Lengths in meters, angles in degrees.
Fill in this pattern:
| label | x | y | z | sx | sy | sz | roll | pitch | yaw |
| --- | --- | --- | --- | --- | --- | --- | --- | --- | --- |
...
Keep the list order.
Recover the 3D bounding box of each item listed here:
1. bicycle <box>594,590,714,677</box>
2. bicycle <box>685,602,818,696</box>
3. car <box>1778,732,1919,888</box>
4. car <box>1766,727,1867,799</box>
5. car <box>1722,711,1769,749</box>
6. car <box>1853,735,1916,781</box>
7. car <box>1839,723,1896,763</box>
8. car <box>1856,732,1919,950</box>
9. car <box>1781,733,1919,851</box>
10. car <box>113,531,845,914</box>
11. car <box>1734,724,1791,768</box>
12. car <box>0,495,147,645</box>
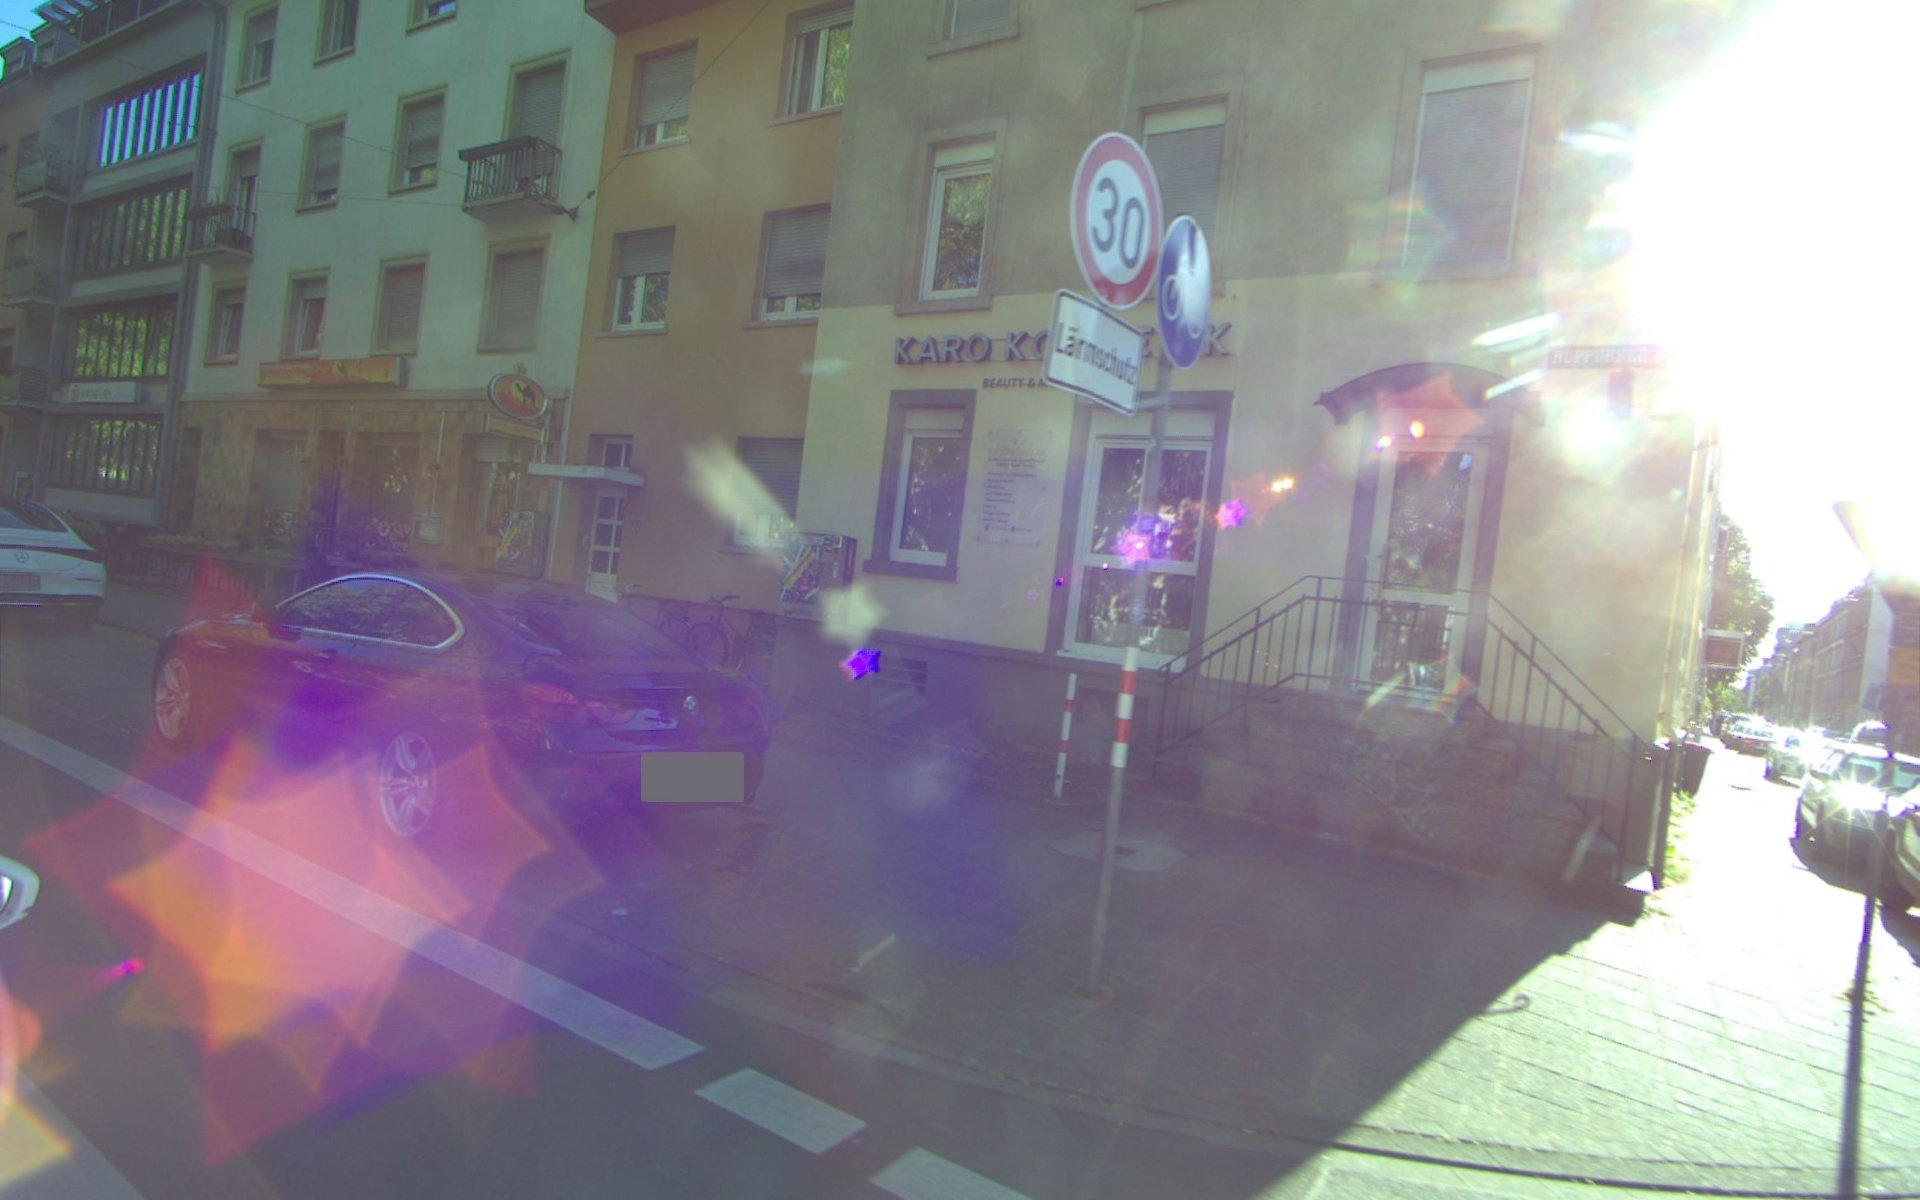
| label | x | y | z | sx | sy | sz | roll | pitch | yaw |
| --- | --- | --- | --- | --- | --- | --- | --- | --- | --- |
| bicycle | -4.356 | 0.465 | 14.265 | 1.827 | 1.009 | 0.427 | 7 | 0 | 32 |
| bicycle | -2.771 | 0.631 | 13.294 | 1.827 | 1.009 | 0.427 | 7 | 0 | 32 |
| car | 12.055 | 2.663 | 13.085 | 1.679 | 1.514 | 4.810 | 10 | 0 | 36 |
| car | 24.976 | 4.700 | 29.466 | 1.679 | 1.592 | 4.188 | 10 | 0 | 36 |
| car | 49.632 | 8.216 | 63.631 | 1.933 | 1.951 | 4.188 | 10 | 0 | 36 |
| car | 46.821 | 7.980 | 51.024 | 1.734 | 1.879 | 3.642 | 8 | -1 | 36 |
| car | 50.488 | 7.924 | 56.014 | 1.734 | 1.879 | 3.642 | 8 | -1 | 36 |
| car | 8.721 | 2.063 | 7.856 | 1.873 | 1.659 | 4.451 | 10 | 0 | 36 |
| car | 15.583 | 3.235 | 17.391 | 1.679 | 1.493 | 4.188 | 10 | 0 | 36 |
| car | -3.246 | 0.504 | 6.491 | 4.661 | 1.398 | 1.995 | 7 | 1 | 32 |
| car | 40.643 | 7.368 | 51.014 | 1.765 | 1.775 | 4.188 | 10 | 0 | 36 |
| car | -11.841 | -0.507 | 11.920 | 4.662 | 1.513 | 1.994 | 7 | 1 | 32 |
